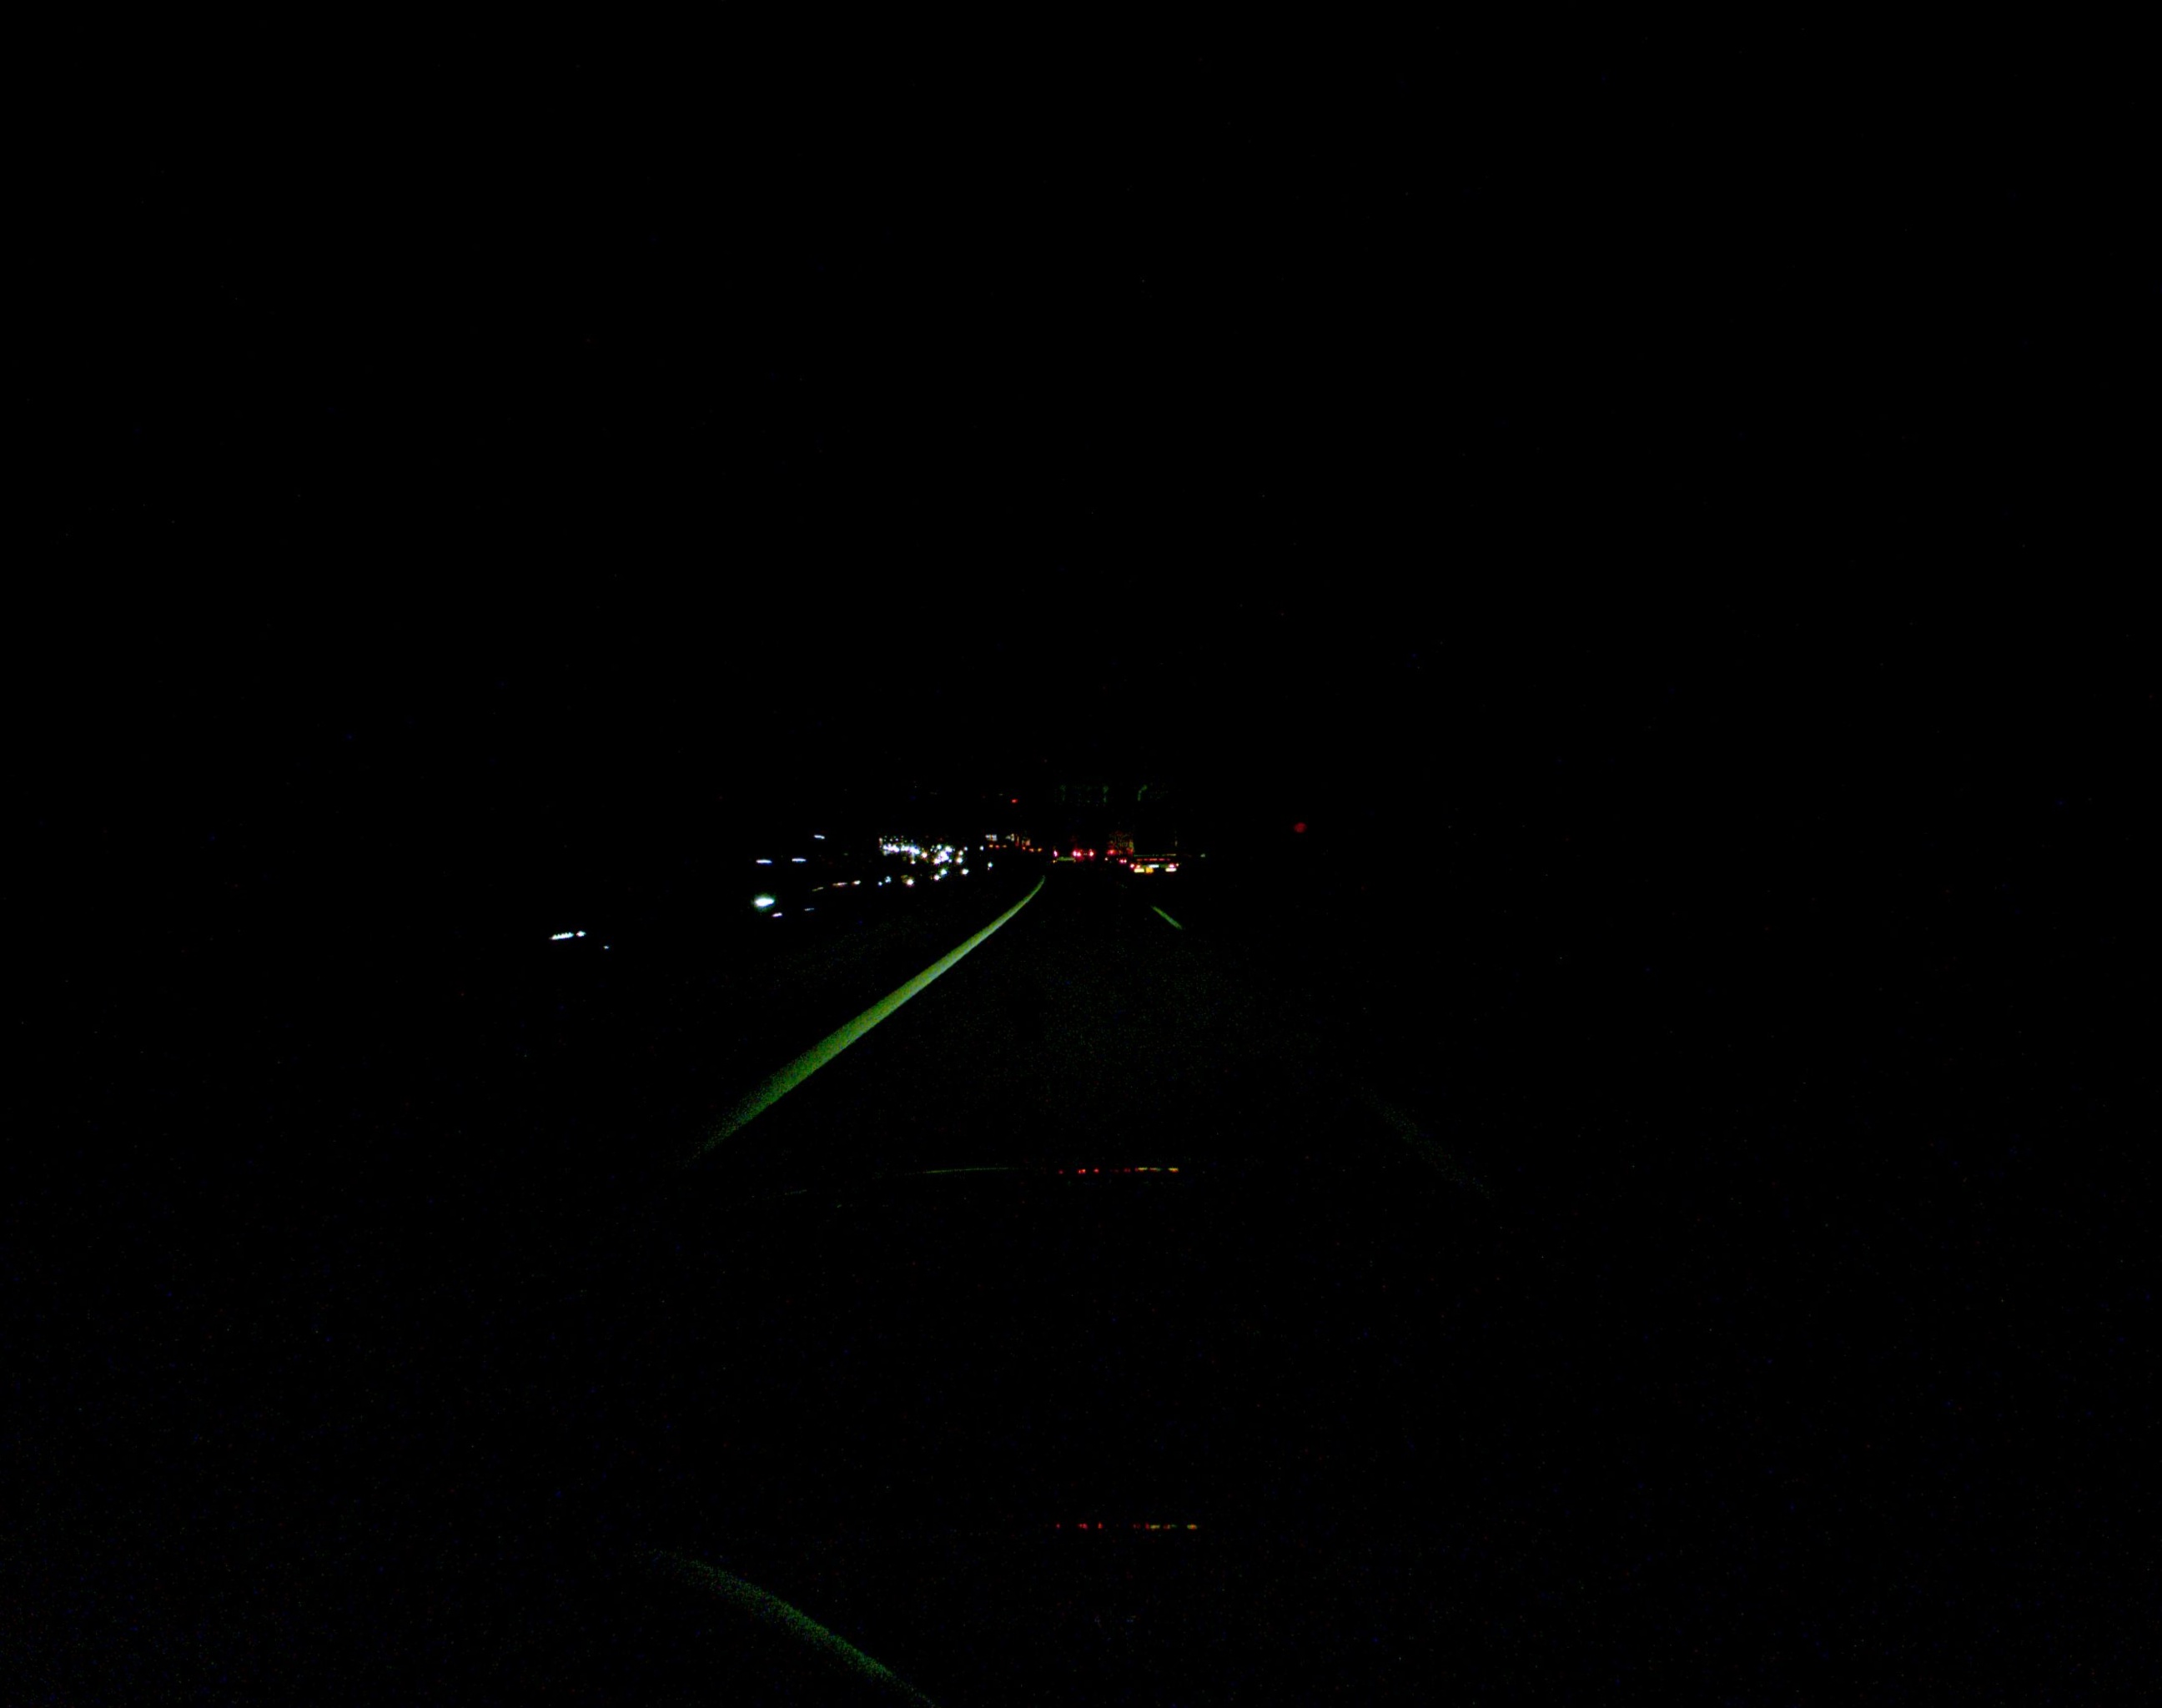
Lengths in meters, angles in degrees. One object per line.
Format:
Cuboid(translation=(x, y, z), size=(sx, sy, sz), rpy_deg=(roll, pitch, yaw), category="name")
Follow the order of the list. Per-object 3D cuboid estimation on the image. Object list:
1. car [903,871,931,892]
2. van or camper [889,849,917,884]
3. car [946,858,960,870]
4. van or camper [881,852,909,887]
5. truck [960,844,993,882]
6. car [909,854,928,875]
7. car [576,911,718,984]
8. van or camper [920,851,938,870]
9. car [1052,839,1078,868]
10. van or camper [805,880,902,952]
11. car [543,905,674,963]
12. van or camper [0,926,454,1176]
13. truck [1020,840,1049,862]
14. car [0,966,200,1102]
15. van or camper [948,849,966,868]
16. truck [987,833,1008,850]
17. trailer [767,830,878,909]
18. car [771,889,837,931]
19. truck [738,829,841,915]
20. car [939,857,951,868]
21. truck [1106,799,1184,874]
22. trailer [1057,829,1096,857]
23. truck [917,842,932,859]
Cuboid(translation=(-12.659, 2.126, 63.031), size=(1.597, 1.442, 3.994), rpy_deg=(-2, 0, -4), category="car")
Cuboid(translation=(-18.022, 1.192, 82.665), size=(2.268, 3.379, 5.679), rpy_deg=(-2, 0, -8), category="van or camper")
Cuboid(translation=(-16.621, 1.337, 105.777), size=(1.605, 1.479, 4.063), rpy_deg=(-2, -1, -7), category="car")
Cuboid(translation=(-17.216, 1.361, 75.521), size=(1.832, 2.971, 6.383), rpy_deg=(-2, 0, -8), category="van or camper")
Cuboid(translation=(-10.283, 0.831, 80.666), size=(2.649, 3.591, 8.538), rpy_deg=(-1, 0, -4), category="truck")
Cuboid(translation=(-19.695, 1.245, 98.862), size=(1.832, 2.370, 5.432), rpy_deg=(-2, 0, -8), category="car")
Cuboid(translation=(-11.625, 2.447, 22.151), size=(1.595, 1.442, 4.001), rpy_deg=(-2, 0, 1), category="car")
Cuboid(translation=(-23.138, 0.914, 124.195), size=(2.446, 2.760, 6.466), rpy_deg=(-2, 0, -10), category="van or camper")
Cuboid(translation=(-1.588, -0.040, 79.152), size=(2.331, 2.640, 5.242), rpy_deg=(2, 0, -3), category="car")
Cuboid(translation=(-7.700, 2.041, 28.102), size=(2.024, 2.013, 4.574), rpy_deg=(-2, 0, -1), category="van or camper")
Cuboid(translation=(-14.894, 2.478, 25.939), size=(1.593, 1.442, 4.004), rpy_deg=(0, 0, 4), category="car")
Cuboid(translation=(-11.373, 2.253, 10.826), size=(1.987, 2.013, 5.219), rpy_deg=(-2, 0, -1), category="van or camper")
Cuboid(translation=(-11.154, -0.894, 192.551), size=(3.917, 4.626, 20.938), rpy_deg=(-3, 2, -11), category="truck")
Cuboid(translation=(-15.071, 2.548, 11.015), size=(1.831, 1.442, 4.002), rpy_deg=(-2, 0, 2), category="car")
Cuboid(translation=(-19.157, 0.725, 125.447), size=(2.446, 2.760, 6.466), rpy_deg=(-2, 0, -10), category="van or camper")
Cuboid(translation=(-23.835, -3.560, 231.664), size=(3.351, 4.475, 13.837), rpy_deg=(1, 1, -16), category="truck")
Cuboid(translation=(-16.156, 0.854, 52.270), size=(3.428, 4.240, 12.819), rpy_deg=(-3, 0, -3), category="trailer")
Cuboid(translation=(-12.119, 2.410, 35.896), size=(1.597, 1.442, 4.378), rpy_deg=(-2, 0, -4), category="car")
Cuboid(translation=(-15.809, 0.884, 44.717), size=(3.410, 4.223, 6.277), rpy_deg=(-3, 0, -3), category="truck")
Cuboid(translation=(-25.850, 1.600, 155.075), size=(1.995, 1.959, 4.966), rpy_deg=(-3, 0, -12), category="car")
Cuboid(translation=(3.853, -0.975, 54.644), size=(3.472, 4.135, 18.701), rpy_deg=(-1, 0, -1), category="truck")
Cuboid(translation=(-0.829, -1.797, 128.130), size=(2.858, 4.066, 13.143), rpy_deg=(-2, 2, -14), category="trailer")
Cuboid(translation=(-32.988, -0.712, 171.607), size=(2.380, 3.259, 7.683), rpy_deg=(-3, 1, -15), category="truck")
